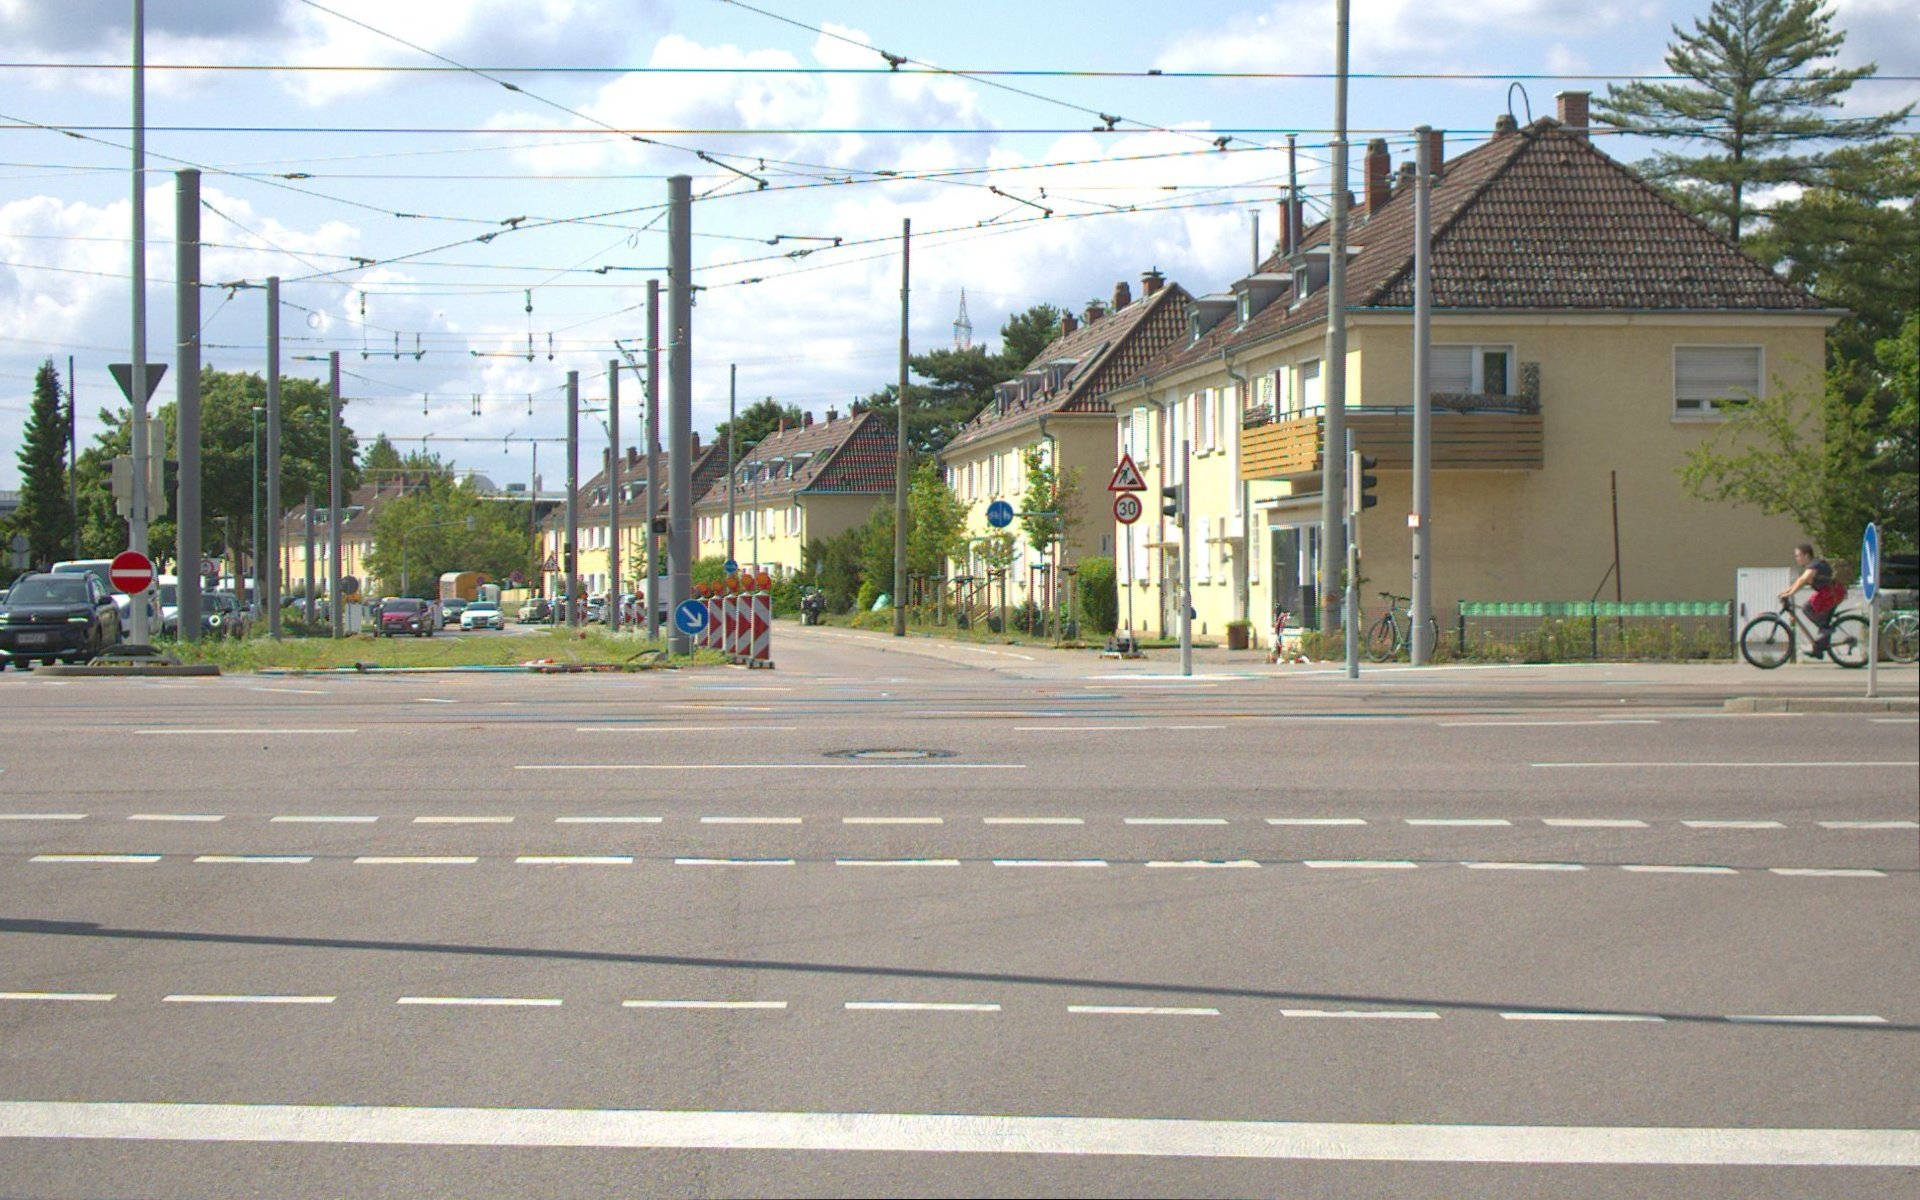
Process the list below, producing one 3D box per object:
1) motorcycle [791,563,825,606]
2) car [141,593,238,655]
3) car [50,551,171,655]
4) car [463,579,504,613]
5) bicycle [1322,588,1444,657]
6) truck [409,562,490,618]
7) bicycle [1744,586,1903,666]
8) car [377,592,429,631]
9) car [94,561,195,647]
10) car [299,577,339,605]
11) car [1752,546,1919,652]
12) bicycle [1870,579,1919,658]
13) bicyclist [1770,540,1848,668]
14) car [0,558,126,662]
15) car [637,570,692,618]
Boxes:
[{"bbox_3d":[-5.837,-0.598,132.047,1.066,1.630,2.084,0,0,-8],"label":"motorcycle"},{"bbox_3d":[-18.075,0.543,80.792,1.914,1.414,4.001,0,0,-8],"label":"car"},{"bbox_3d":[-16.254,0.050,65.972,1.814,1.915,4.749,0,0,-9],"label":"car"},{"bbox_3d":[-22.384,-0.190,161.659,1.843,1.556,4.188,0,0,-7],"label":"car"},{"bbox_3d":[6.825,0.363,55.623,0.593,1.093,2.276,0,0,-35],"label":"bicycle"},{"bbox_3d":[-32.319,-0.619,217.529,2.640,3.482,9.439,0,0,-24],"label":"truck"},{"bbox_3d":[11.953,0.362,47.630,2.027,1.098,0.715,0,0,4],"label":"bicycle"},{"bbox_3d":[-21.774,0.435,134.503,1.843,1.489,4.857,0,0,-7],"label":"car"},{"bbox_3d":[-17.481,0.078,73.843,1.732,1.776,4.406,-1,0,-9],"label":"car"},{"bbox_3d":[-44.647,-0.639,239.319,1.993,1.904,4.001,-1,1,-22],"label":"car"},{"bbox_3d":[14.426,0.012,55.395,1.821,1.615,4.001,0,-1,-10],"label":"car"},{"bbox_3d":[13.829,0.259,48.471,1.806,1.101,0.701,0,0,39],"label":"bicycle"},{"bbox_3d":[11.815,0.056,47.864,0.957,1.769,0.719,0,0,6],"label":"bicyclist"},{"bbox_3d":[-15.643,0.140,59.556,1.786,1.715,4.442,0,1,-7],"label":"car"},{"bbox_3d":[-13.557,-0.283,157.274,2.065,2.142,4.879,0,0,-10],"label":"car"}]
